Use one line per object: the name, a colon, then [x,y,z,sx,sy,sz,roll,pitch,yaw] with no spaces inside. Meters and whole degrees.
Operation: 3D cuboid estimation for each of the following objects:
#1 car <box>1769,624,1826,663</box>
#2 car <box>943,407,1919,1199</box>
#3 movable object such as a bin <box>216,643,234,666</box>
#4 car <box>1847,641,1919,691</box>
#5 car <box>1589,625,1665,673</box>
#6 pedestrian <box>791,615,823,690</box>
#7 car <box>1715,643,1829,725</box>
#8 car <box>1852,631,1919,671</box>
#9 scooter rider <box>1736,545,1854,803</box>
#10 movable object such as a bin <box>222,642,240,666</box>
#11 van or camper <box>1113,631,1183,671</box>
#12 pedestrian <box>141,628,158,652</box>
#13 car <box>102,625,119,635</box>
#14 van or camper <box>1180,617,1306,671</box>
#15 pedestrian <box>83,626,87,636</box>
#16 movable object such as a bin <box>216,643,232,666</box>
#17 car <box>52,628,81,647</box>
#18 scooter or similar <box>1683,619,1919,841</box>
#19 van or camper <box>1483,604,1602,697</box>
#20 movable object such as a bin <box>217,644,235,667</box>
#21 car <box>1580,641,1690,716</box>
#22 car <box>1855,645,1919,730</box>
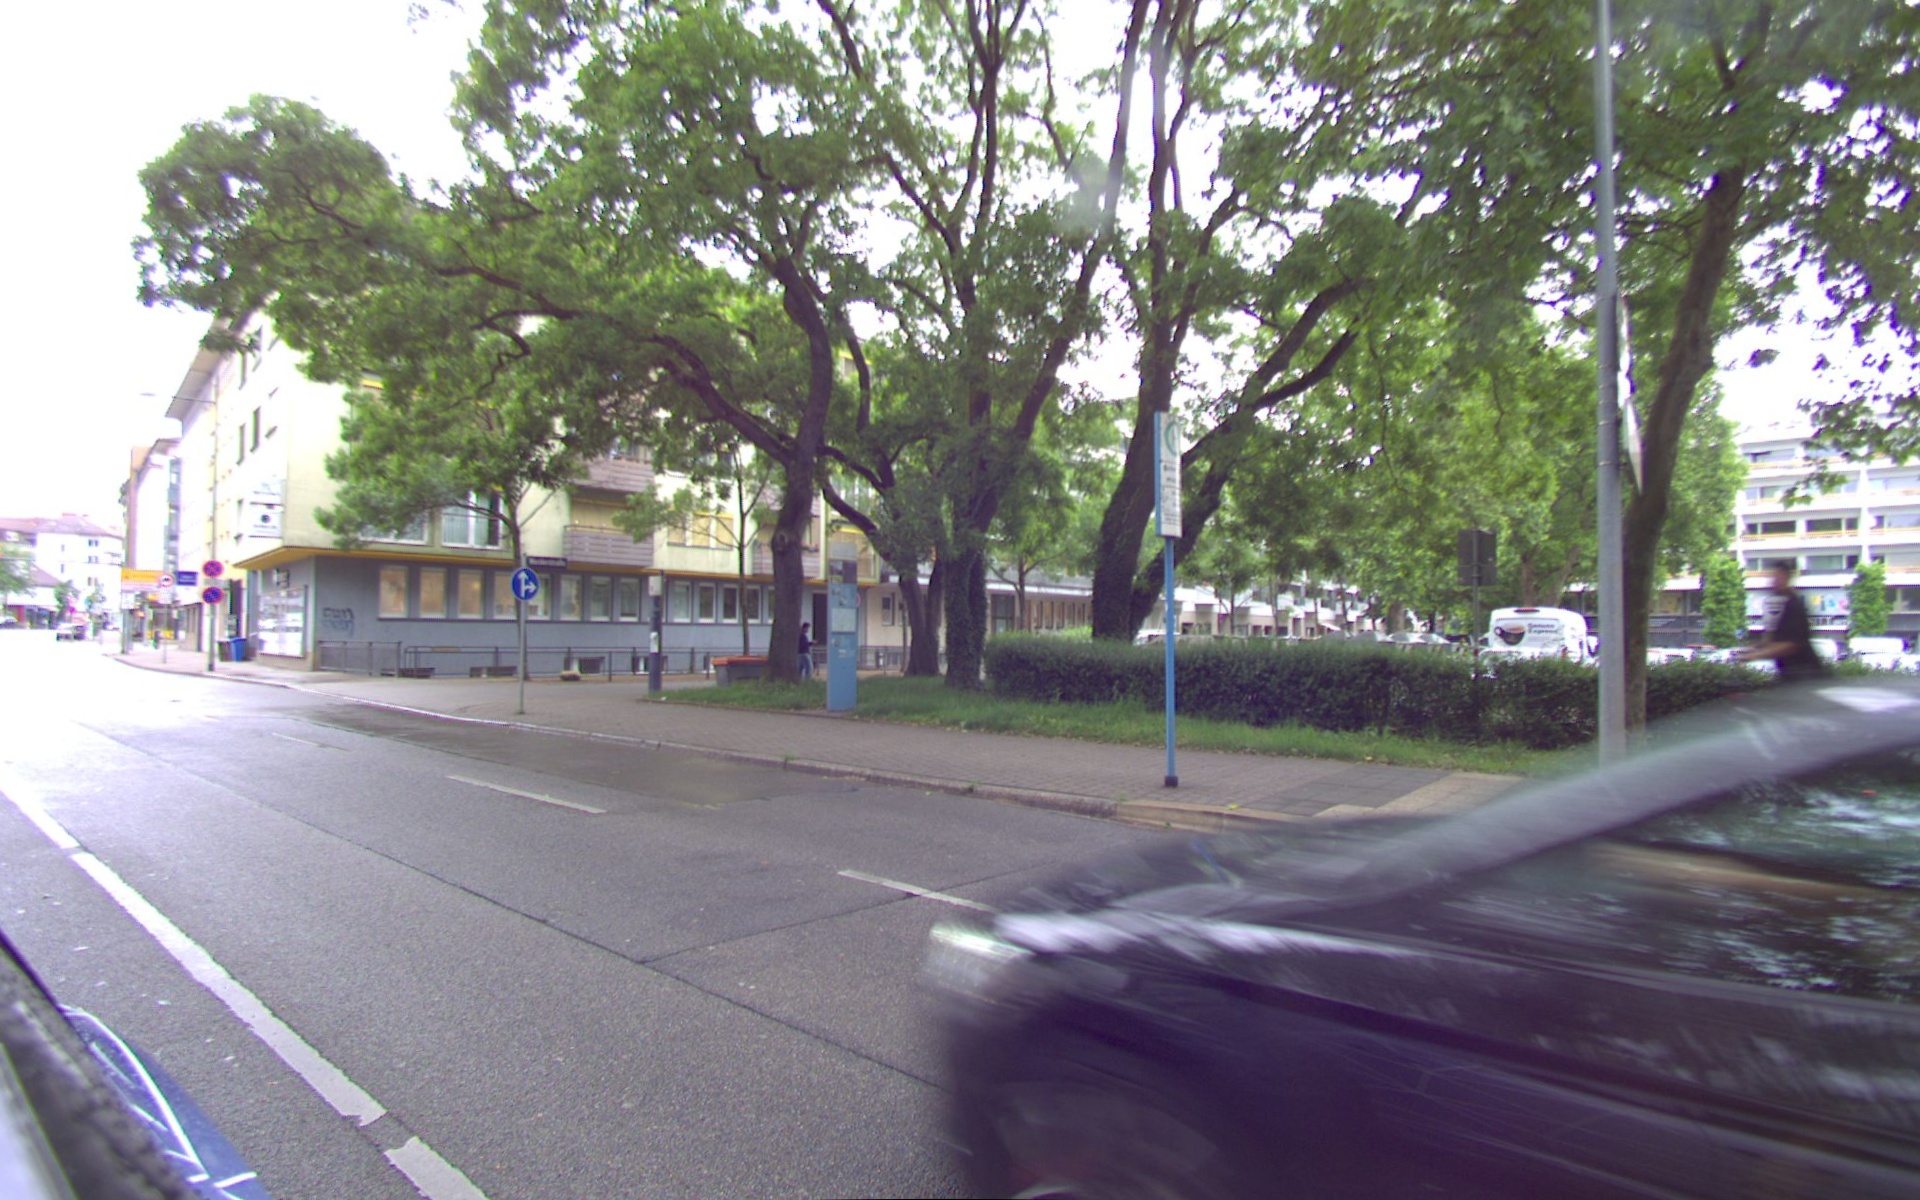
car: [41.884,2.147,50.676,2.097,1.735,3.948,-1,0,39]
car: [2.126,0.617,1.537,4.134,1.638,1.827,-2,-4,40]
movable object such as a bin: [-30.724,2.264,42.293,0.521,0.935,0.426,-3,1,-42]
car: [33.348,2.323,36.458,1.895,1.497,3.948,-1,0,39]
car: [24.047,1.719,36.437,1.895,1.497,3.948,-1,0,39]
pedestrian: [-4.199,1.427,27.784,0.770,2.029,0.753,0,-2,-2]
car: [18.601,1.839,23.213,1.895,1.497,3.948,-1,0,39]
car: [40.315,2.186,44.155,1.895,1.497,3.948,-1,0,39]
scooter rider: [6.155,0.515,7.454,0.645,1.779,0.725,0,-1,42]
movable object such as a bin: [-29.958,2.213,41.570,0.522,0.968,0.435,-3,1,-42]
van or camper: [10.382,2.782,55.600,1.825,2.029,4.576,1,-2,38]
pedestrian: [-53.801,2.657,67.197,0.773,1.600,0.675,-1,-1,-29]
car: [-127.254,4.528,151.619,1.567,1.539,3.496,2,-3,-36]
van or camper: [14.018,2.136,49.538,2.561,2.420,8.535,-2,-3,41]
pedestrian: [-115.894,4.088,134.028,0.380,1.301,0.394,-2,-3,41]
movable object such as a bin: [-31.137,2.288,42.801,0.458,0.935,0.429,-3,1,-42]
car: [-82.236,3.447,93.137,1.807,1.634,4.007,2,-3,-39]
scooter or similar: [6.187,0.878,7.403,1.397,1.457,0.806,0,-2,41]
van or camper: [16.798,1.418,29.103,2.099,2.450,4.280,-2,-3,42]
movable object such as a bin: [-30.362,2.279,41.874,0.522,0.902,0.435,-3,1,-42]
car: [16.722,1.869,24.997,1.895,1.497,3.948,-1,0,39]
car: [20.498,1.808,21.604,1.895,1.497,3.948,-1,0,39]
